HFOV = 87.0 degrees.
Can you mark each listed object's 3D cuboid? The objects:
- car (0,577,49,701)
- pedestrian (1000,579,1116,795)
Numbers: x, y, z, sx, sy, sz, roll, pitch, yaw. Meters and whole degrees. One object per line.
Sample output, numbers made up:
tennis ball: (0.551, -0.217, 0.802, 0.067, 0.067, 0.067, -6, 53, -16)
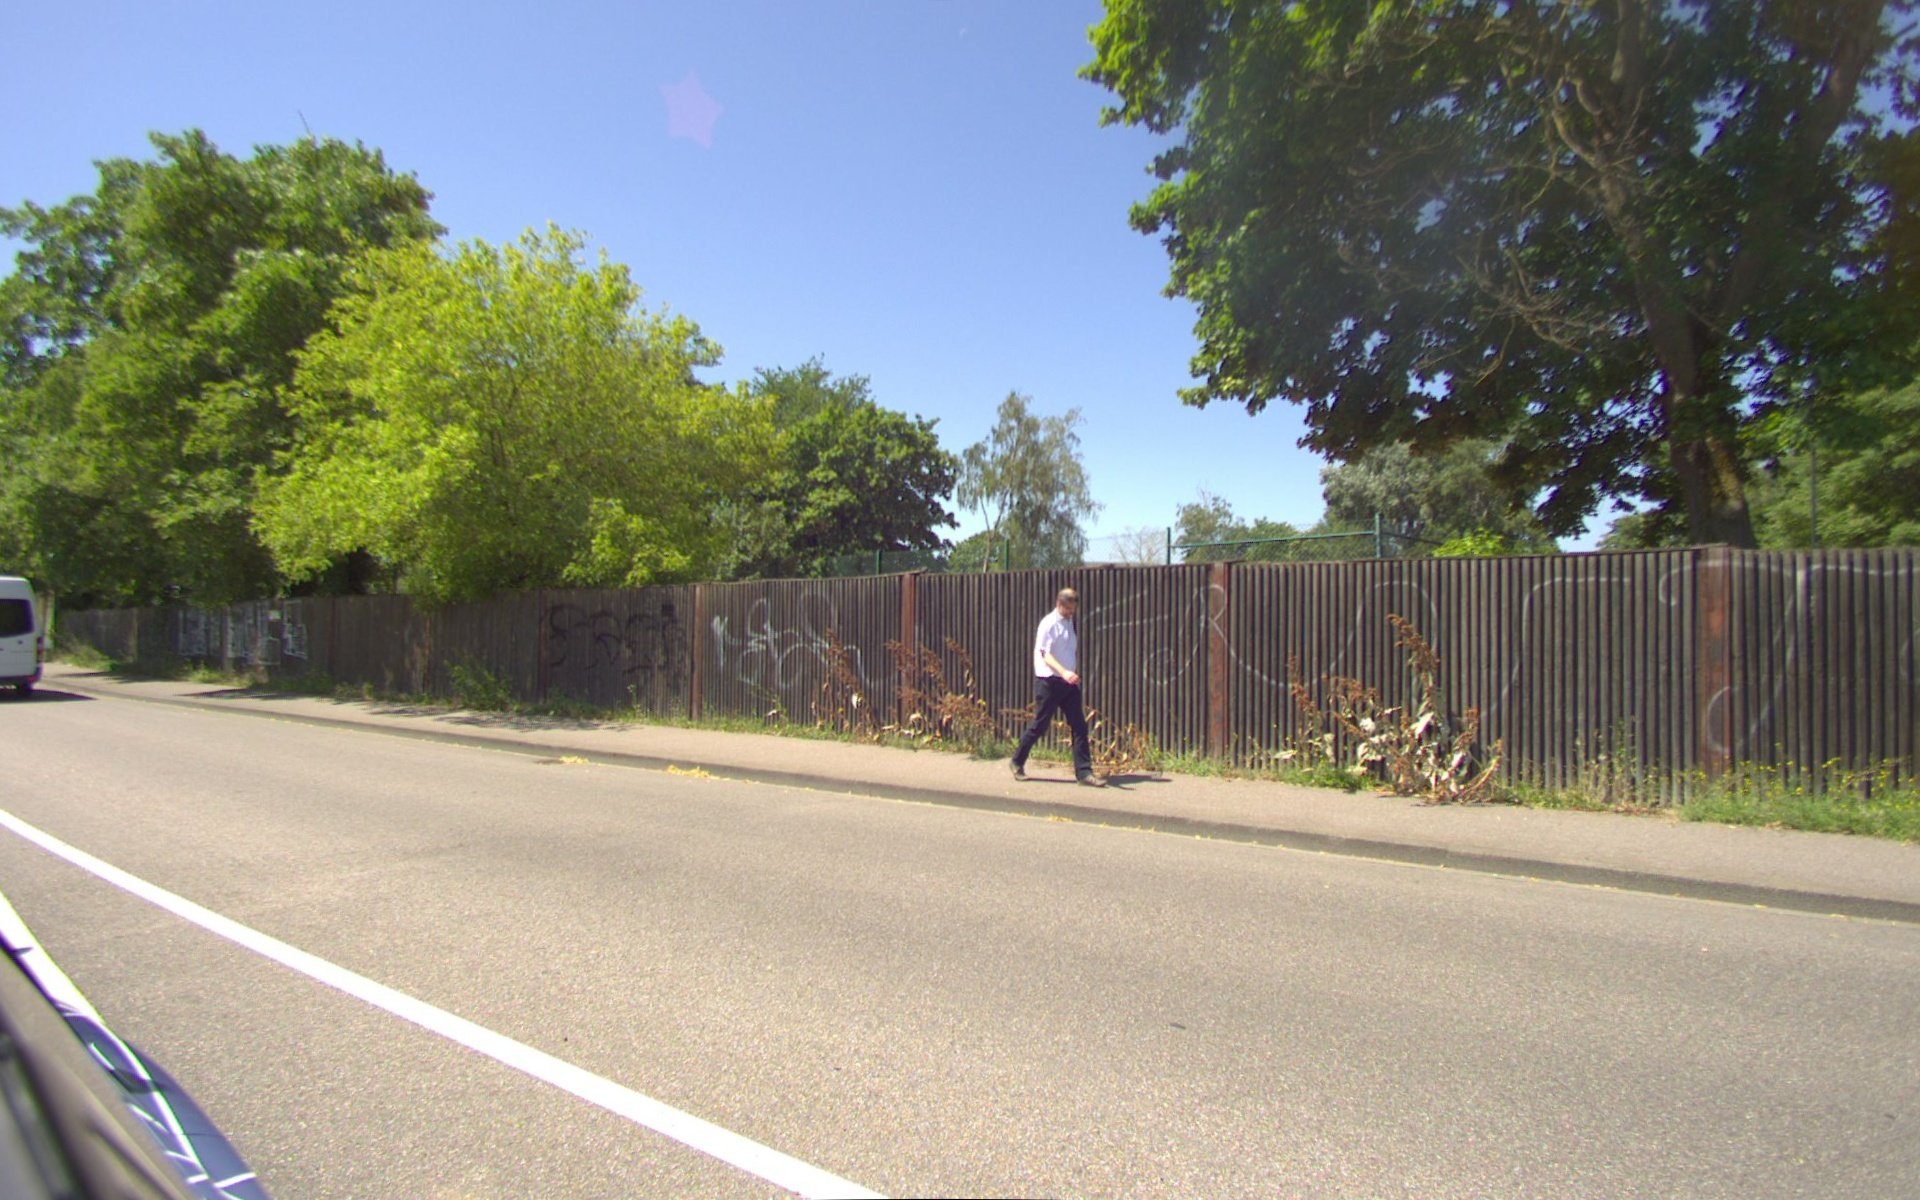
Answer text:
car: (-22.580, 0.847, 22.690, 6.818, 2.558, 2.000, -1, -3, 38)
pedestrian: (0.882, 0.750, 9.143, 0.850, 1.838, 0.586, -1, -1, 41)
